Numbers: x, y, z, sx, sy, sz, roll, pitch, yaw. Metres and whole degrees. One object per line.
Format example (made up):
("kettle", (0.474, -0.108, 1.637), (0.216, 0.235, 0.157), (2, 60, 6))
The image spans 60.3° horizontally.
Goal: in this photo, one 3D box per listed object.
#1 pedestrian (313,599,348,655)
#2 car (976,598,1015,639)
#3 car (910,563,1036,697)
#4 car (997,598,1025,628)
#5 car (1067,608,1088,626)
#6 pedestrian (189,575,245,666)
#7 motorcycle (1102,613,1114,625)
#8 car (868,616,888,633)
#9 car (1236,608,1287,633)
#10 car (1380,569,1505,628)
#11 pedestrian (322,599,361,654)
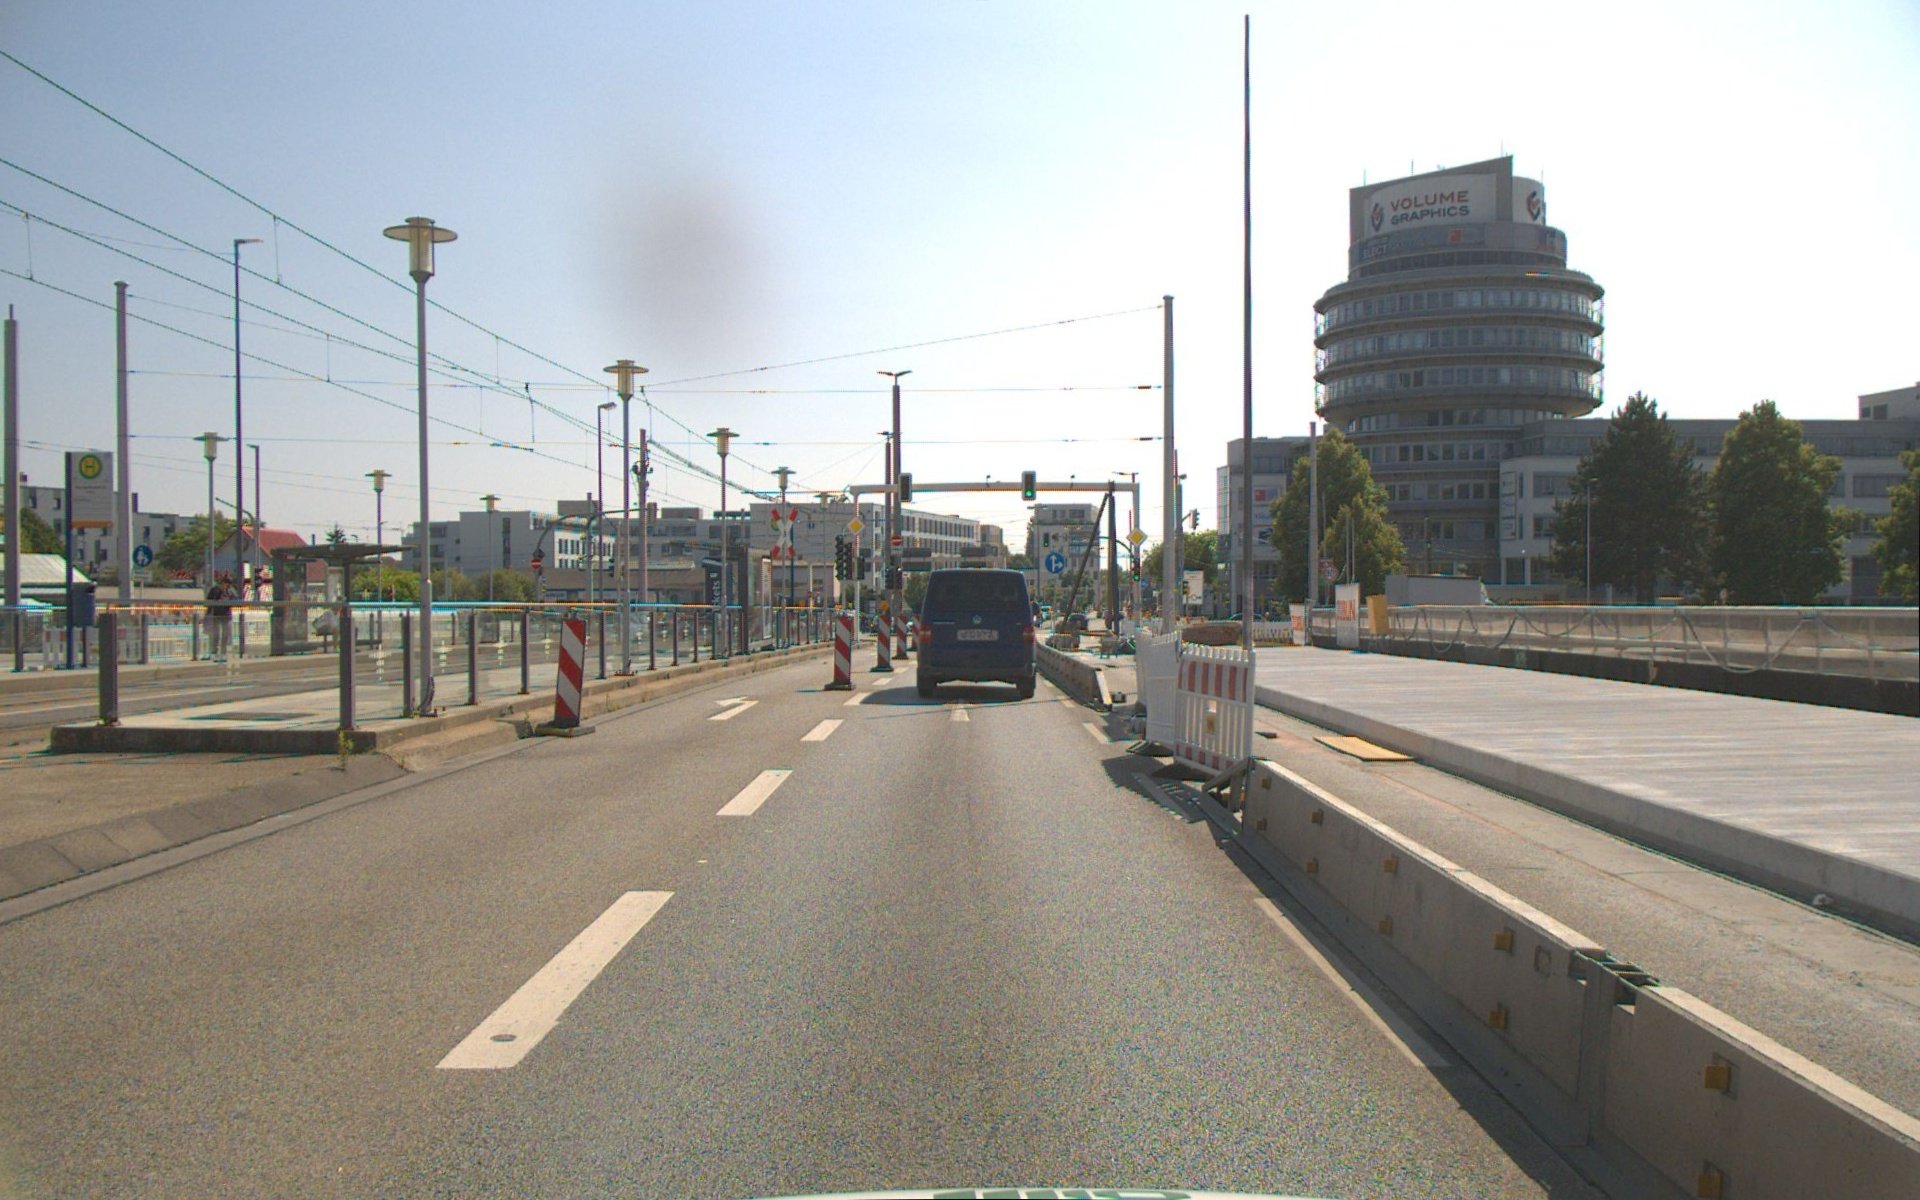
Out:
("pedestrian", (-14.591, 0.622, 38.338), (0.634, 1.296, 0.453), (0, 0, 3))
("car", (1.663, 0.815, 75.487), (1.611, 1.758, 4.002), (1, 0, 3))
("car", (0.196, 0.422, 26.725), (1.849, 1.968, 4.000), (1, 1, 0))
("car", (3.201, 0.802, 103.584), (1.611, 1.758, 3.718), (1, 0, 3))
("car", (9.950, 1.419, 140.088), (1.708, 1.501, 3.886), (0, 0, 3))
("pedestrian", (-14.048, 0.379, 31.266), (0.646, 1.683, 0.740), (0, 0, 11))
("motorcycle", (16.232, 2.059, 181.019), (1.137, 1.264, 3.010), (1, 1, 9))
("car", (-7.524, 2.256, 152.176), (1.711, 1.512, 3.999), (-1, 0, 0))
("car", (23.833, 1.637, 130.782), (3.734, 1.829, 1.681), (1, 1, 1))
("car", (24.737, -0.075, 84.880), (5.858, 2.937, 2.335), (1, 1, -18))
("pedestrian", (-14.546, 0.615, 38.926), (0.634, 1.296, 0.697), (0, 0, 3))
